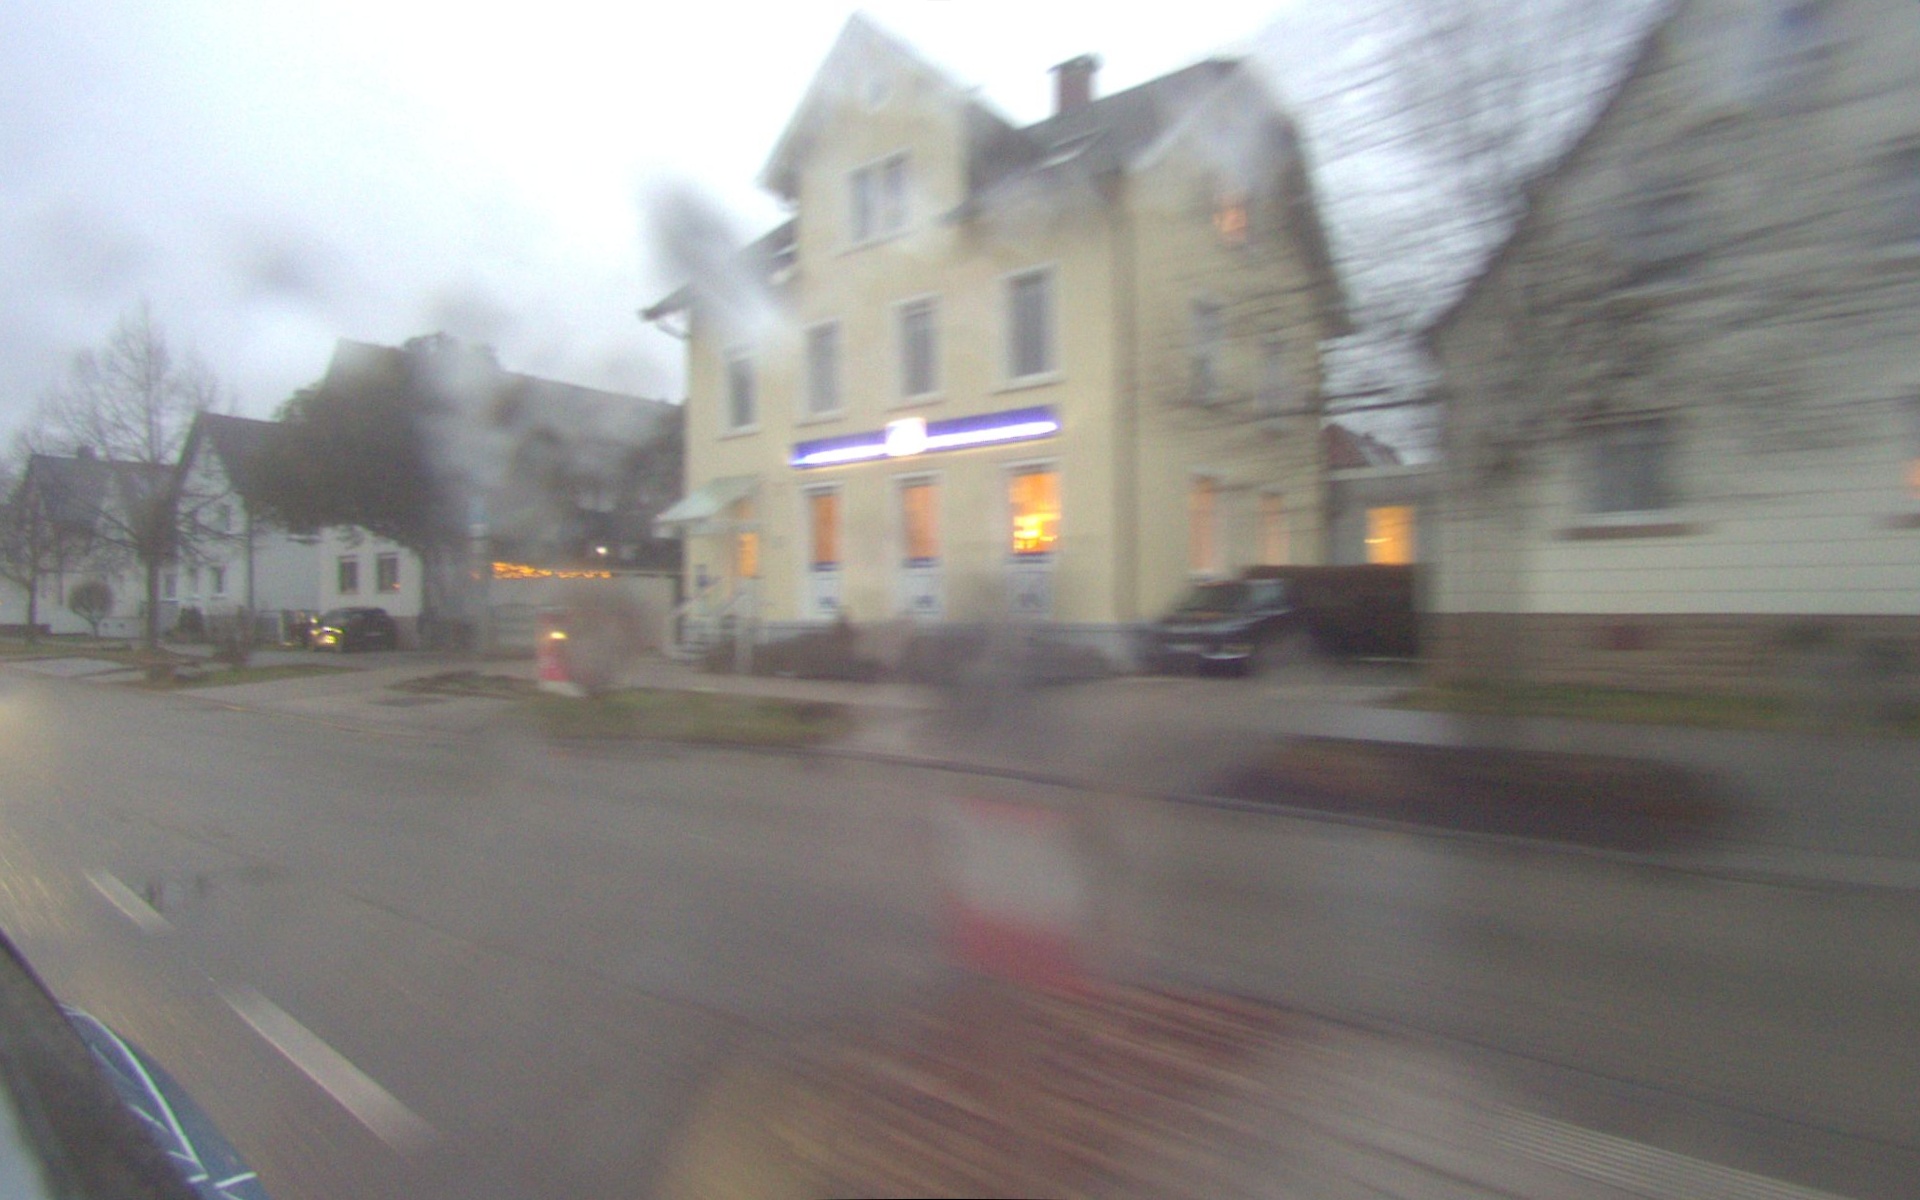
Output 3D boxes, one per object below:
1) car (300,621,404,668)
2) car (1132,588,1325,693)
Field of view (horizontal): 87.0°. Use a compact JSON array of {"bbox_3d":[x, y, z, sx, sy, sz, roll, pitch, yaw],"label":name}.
[{"bbox_3d":[-20.011,1.419,33.237,3.997,1.376,1.763,-1,0,41],"label":"car"},{"bbox_3d":[4.840,0.626,17.893,1.919,1.612,3.950,-1,0,37],"label":"car"}]
